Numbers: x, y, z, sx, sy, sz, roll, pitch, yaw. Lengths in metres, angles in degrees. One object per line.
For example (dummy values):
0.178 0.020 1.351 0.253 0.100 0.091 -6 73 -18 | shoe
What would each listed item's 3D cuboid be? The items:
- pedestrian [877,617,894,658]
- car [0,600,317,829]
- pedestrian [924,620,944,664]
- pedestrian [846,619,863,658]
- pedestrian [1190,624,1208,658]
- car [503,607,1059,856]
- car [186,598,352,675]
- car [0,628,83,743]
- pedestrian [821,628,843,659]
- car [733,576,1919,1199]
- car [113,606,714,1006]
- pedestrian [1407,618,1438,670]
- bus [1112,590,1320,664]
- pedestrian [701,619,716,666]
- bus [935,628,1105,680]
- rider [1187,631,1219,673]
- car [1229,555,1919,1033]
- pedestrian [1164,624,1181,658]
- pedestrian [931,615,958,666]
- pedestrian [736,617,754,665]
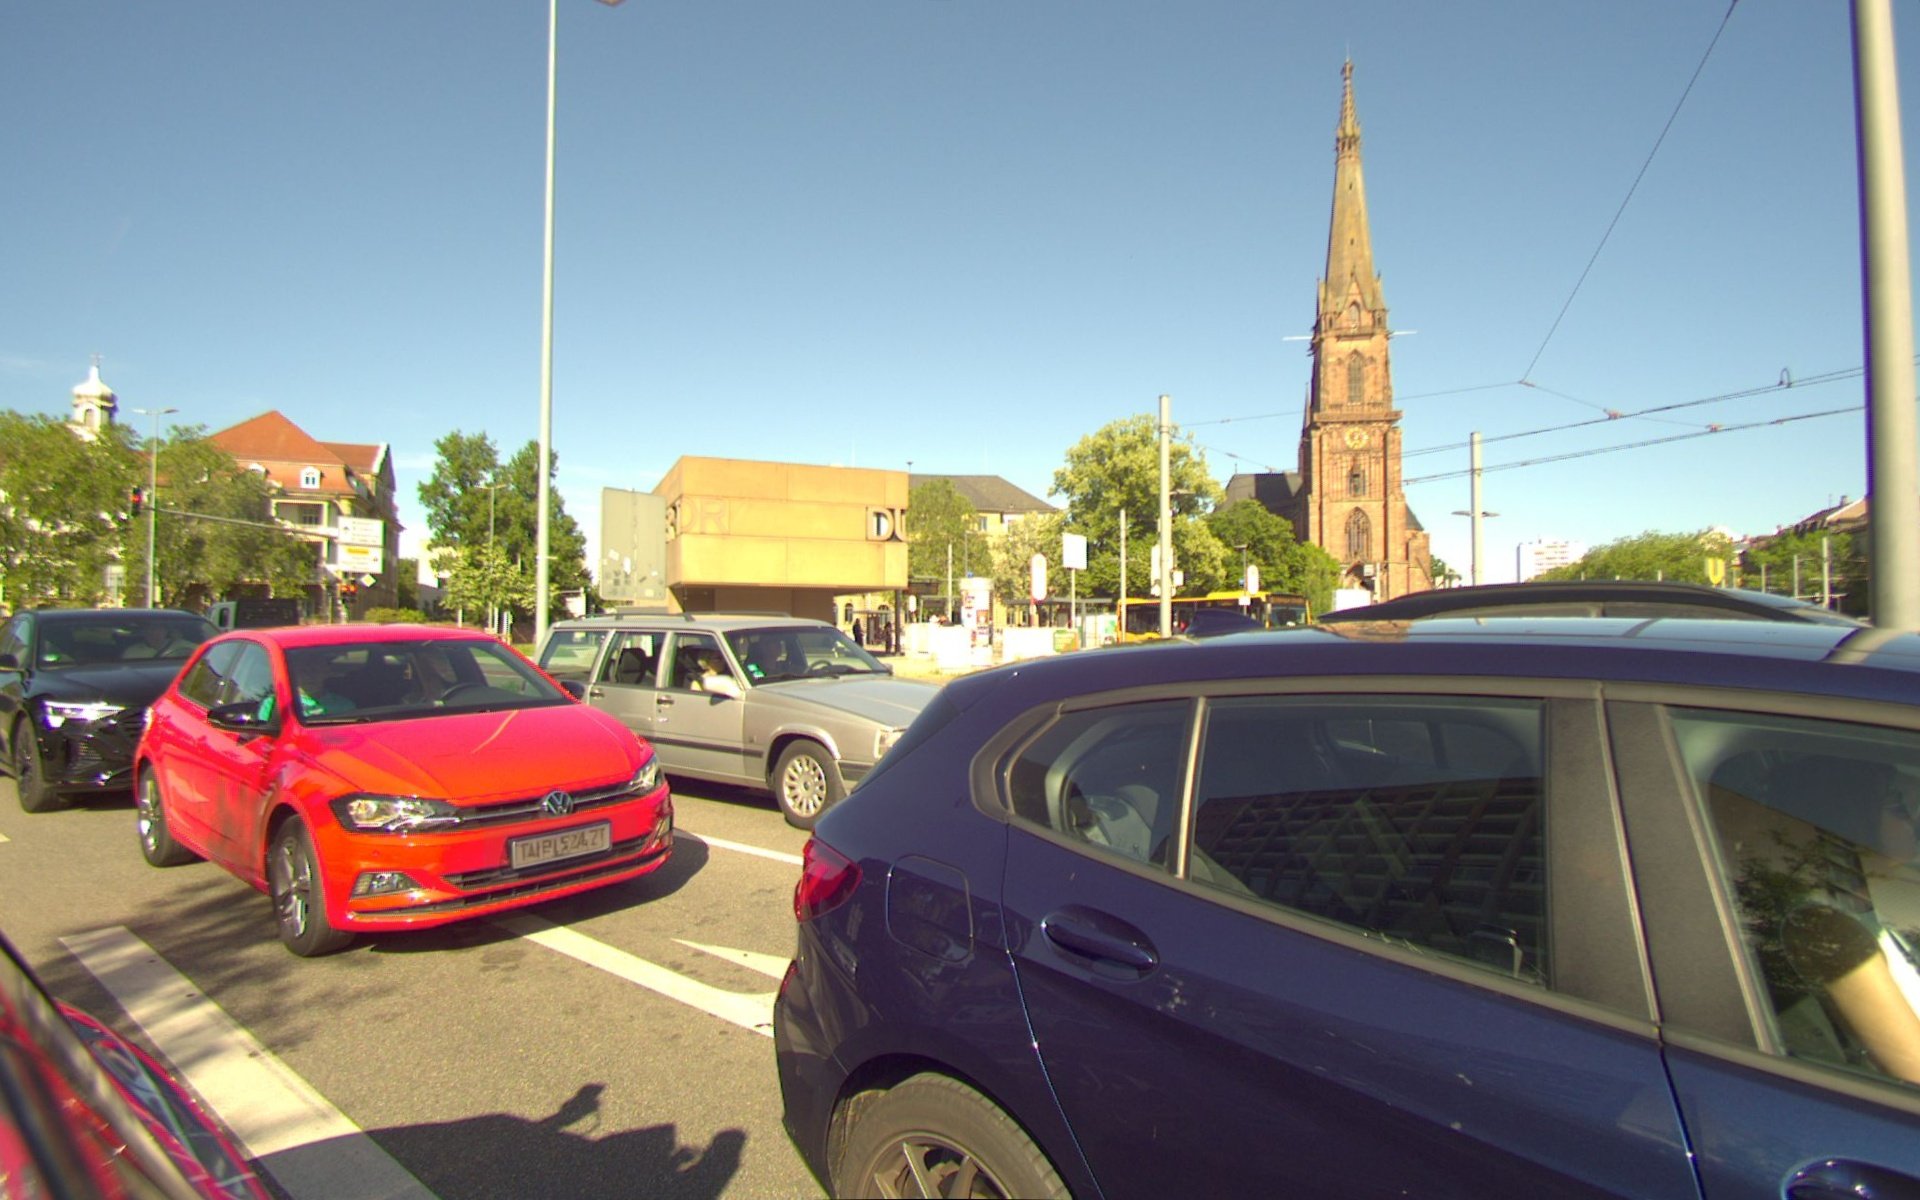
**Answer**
-3.299 1.667 45.039 0.468 1.789 0.638 -2 -2 36 | pedestrian
-7.851 0.881 9.330 4.446 1.628 1.836 -1 -2 38 | car
-1.045 1.700 40.950 0.634 1.789 0.470 1 -2 -29 | pedestrian
-4.855 1.755 46.498 0.468 1.789 0.638 -2 -2 36 | pedestrian
10.736 1.828 45.504 0.551 1.525 0.530 -1 -1 -21 | pedestrian
-1.664 0.822 8.182 4.745 1.484 1.693 -1 -1 38 | car
-22.665 1.170 33.114 6.191 2.331 2.095 -1 -2 31 | car
-13.604 1.125 13.869 3.704 1.429 1.557 -1 -1 35 | car
-5.476 1.861 43.239 0.635 1.320 0.764 1 -2 -40 | pedestrian
1.604 0.700 1.348 4.030 1.456 1.692 -1 -1 42 | car
-3.237 0.810 5.661 3.850 1.484 1.653 -2 -1 40 | car
17.129 1.625 37.491 0.882 1.869 0.679 -2 -3 41 | pedestrian
11.640 1.322 48.101 2.715 3.088 12.201 1 -2 -23 | bus
-9.605 1.610 38.676 0.460 1.789 0.648 0 -2 -21 | pedestrian
1.512 1.350 26.170 4.174 1.251 1.627 -1 -2 35 | bus
8.621 1.847 35.928 0.847 1.475 0.672 0 -2 -13 | rider
3.362 0.637 4.169 4.010 1.529 1.738 -2 -2 44 | car
9.602 1.848 45.752 0.562 1.525 0.529 -1 -1 -6 | pedestrian
-0.556 1.439 36.204 0.666 1.802 0.638 -1 -1 36 | pedestrian
-8.120 1.544 38.250 0.635 1.789 0.618 0 -2 -8 | pedestrian
